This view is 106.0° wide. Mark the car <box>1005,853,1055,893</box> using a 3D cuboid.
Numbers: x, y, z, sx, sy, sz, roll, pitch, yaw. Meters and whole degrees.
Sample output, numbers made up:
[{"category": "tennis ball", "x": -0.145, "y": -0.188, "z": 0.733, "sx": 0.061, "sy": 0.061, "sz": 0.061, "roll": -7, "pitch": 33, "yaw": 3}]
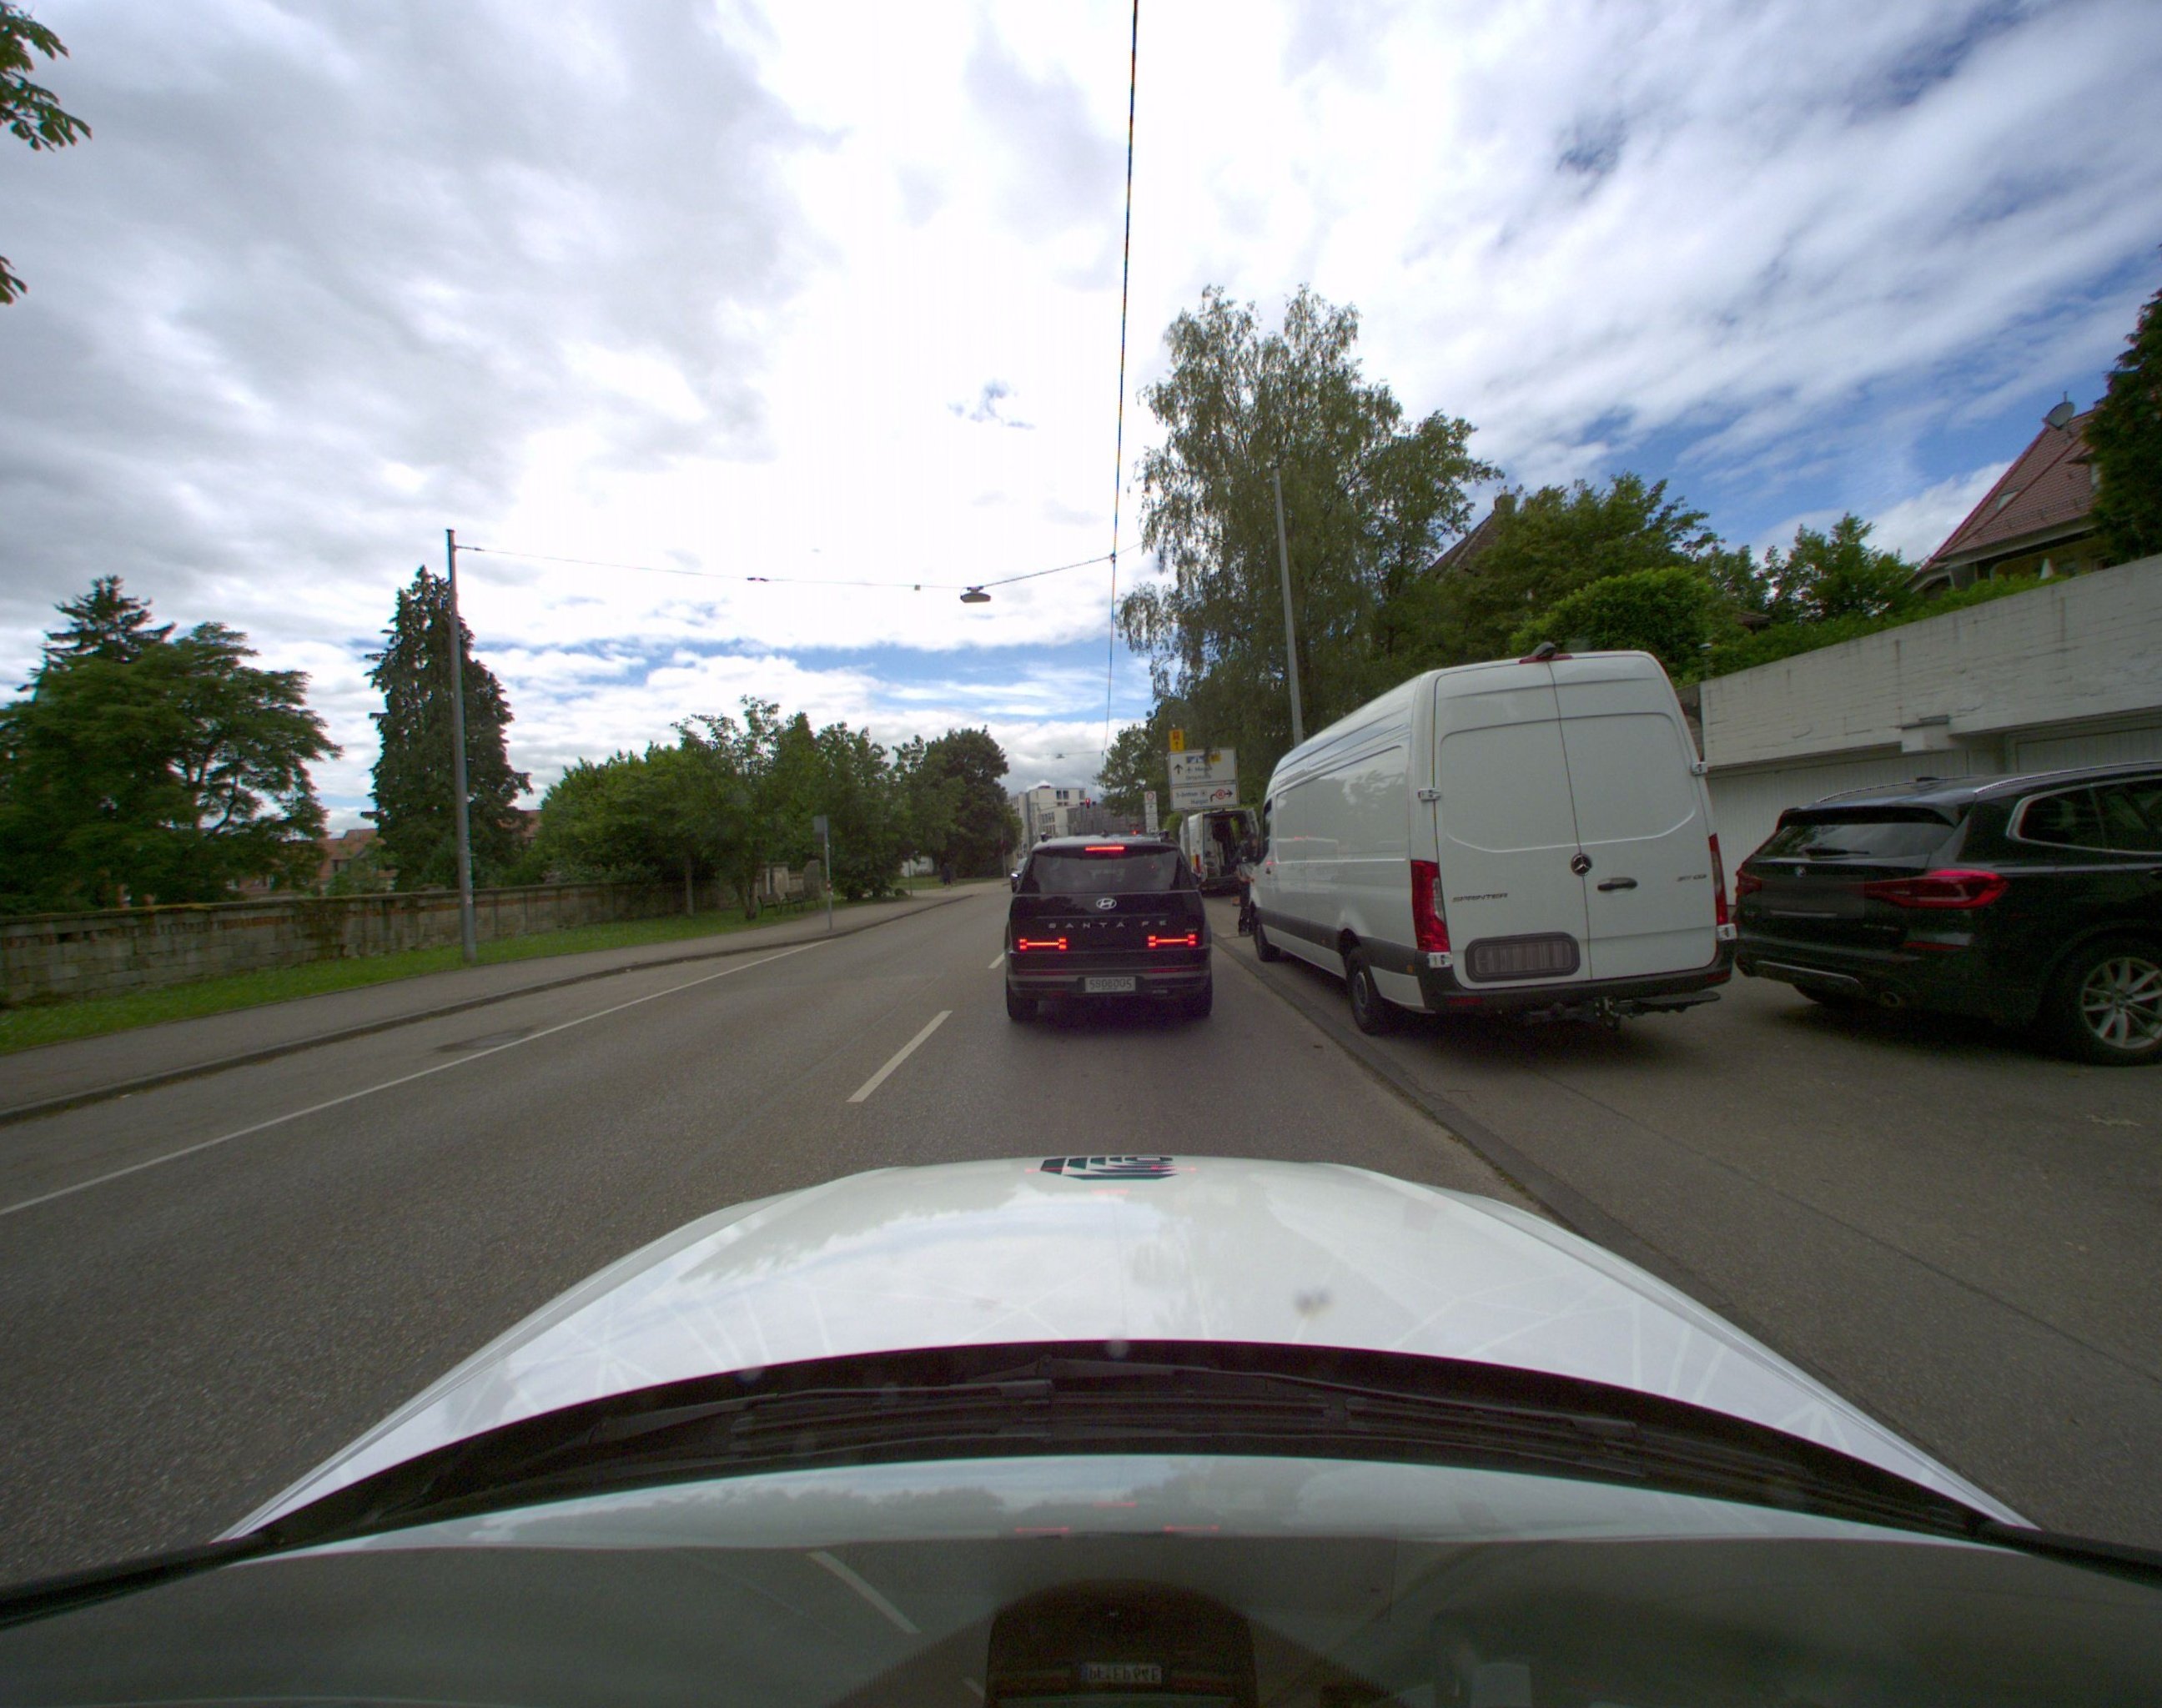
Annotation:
[{"category": "car", "x": -2.413, "y": 0.864, "z": 39.534, "sx": 1.852, "sy": 1.657, "sz": 4.307, "roll": -6, "pitch": 0, "yaw": 2}]

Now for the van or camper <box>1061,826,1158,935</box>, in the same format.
[{"category": "van or camper", "x": 0.616, "y": 0.510, "z": 17.618, "sx": 1.748, "sy": 2.013, "sz": 4.002, "roll": -3, "pitch": 0, "yaw": 2}]

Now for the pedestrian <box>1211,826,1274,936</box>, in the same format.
[{"category": "pedestrian", "x": 2.763, "y": 0.447, "z": 14.012, "sx": 0.867, "sy": 1.797, "sz": 0.760, "roll": -3, "pitch": 0, "yaw": 1}]

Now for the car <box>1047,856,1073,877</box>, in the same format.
[{"category": "car", "x": -1.724, "y": 1.027, "z": 68.011, "sx": 1.852, "sy": 1.453, "sz": 4.112, "roll": -6, "pitch": 0, "yaw": 2}]

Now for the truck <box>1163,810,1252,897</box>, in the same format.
[{"category": "truck", "x": 4.211, "y": 0.020, "z": 27.993, "sx": 1.937, "sy": 2.561, "sz": 5.213, "roll": -5, "pitch": -1, "yaw": -1}]

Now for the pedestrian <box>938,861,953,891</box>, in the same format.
[{"category": "pedestrian", "x": -7.873, "y": 1.264, "z": 47.413, "sx": 0.737, "sy": 1.715, "sz": 0.791, "roll": -3, "pitch": 0, "yaw": -5}]

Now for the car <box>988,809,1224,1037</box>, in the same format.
[{"category": "car", "x": 0.266, "y": 0.568, "z": 8.675, "sx": 1.883, "sy": 1.819, "sz": 4.002, "roll": -2, "pitch": 0, "yaw": 2}]

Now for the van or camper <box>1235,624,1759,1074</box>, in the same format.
[{"category": "van or camper", "x": 3.134, "y": -0.027, "z": 8.204, "sx": 1.986, "sy": 2.620, "sz": 6.543, "roll": -3, "pitch": 0, "yaw": 2}]

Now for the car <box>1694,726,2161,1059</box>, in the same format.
[{"category": "car", "x": 6.862, "y": 0.130, "z": 5.234, "sx": 4.398, "sy": 1.750, "sz": 1.739, "roll": -3, "pitch": 0, "yaw": 3}]
